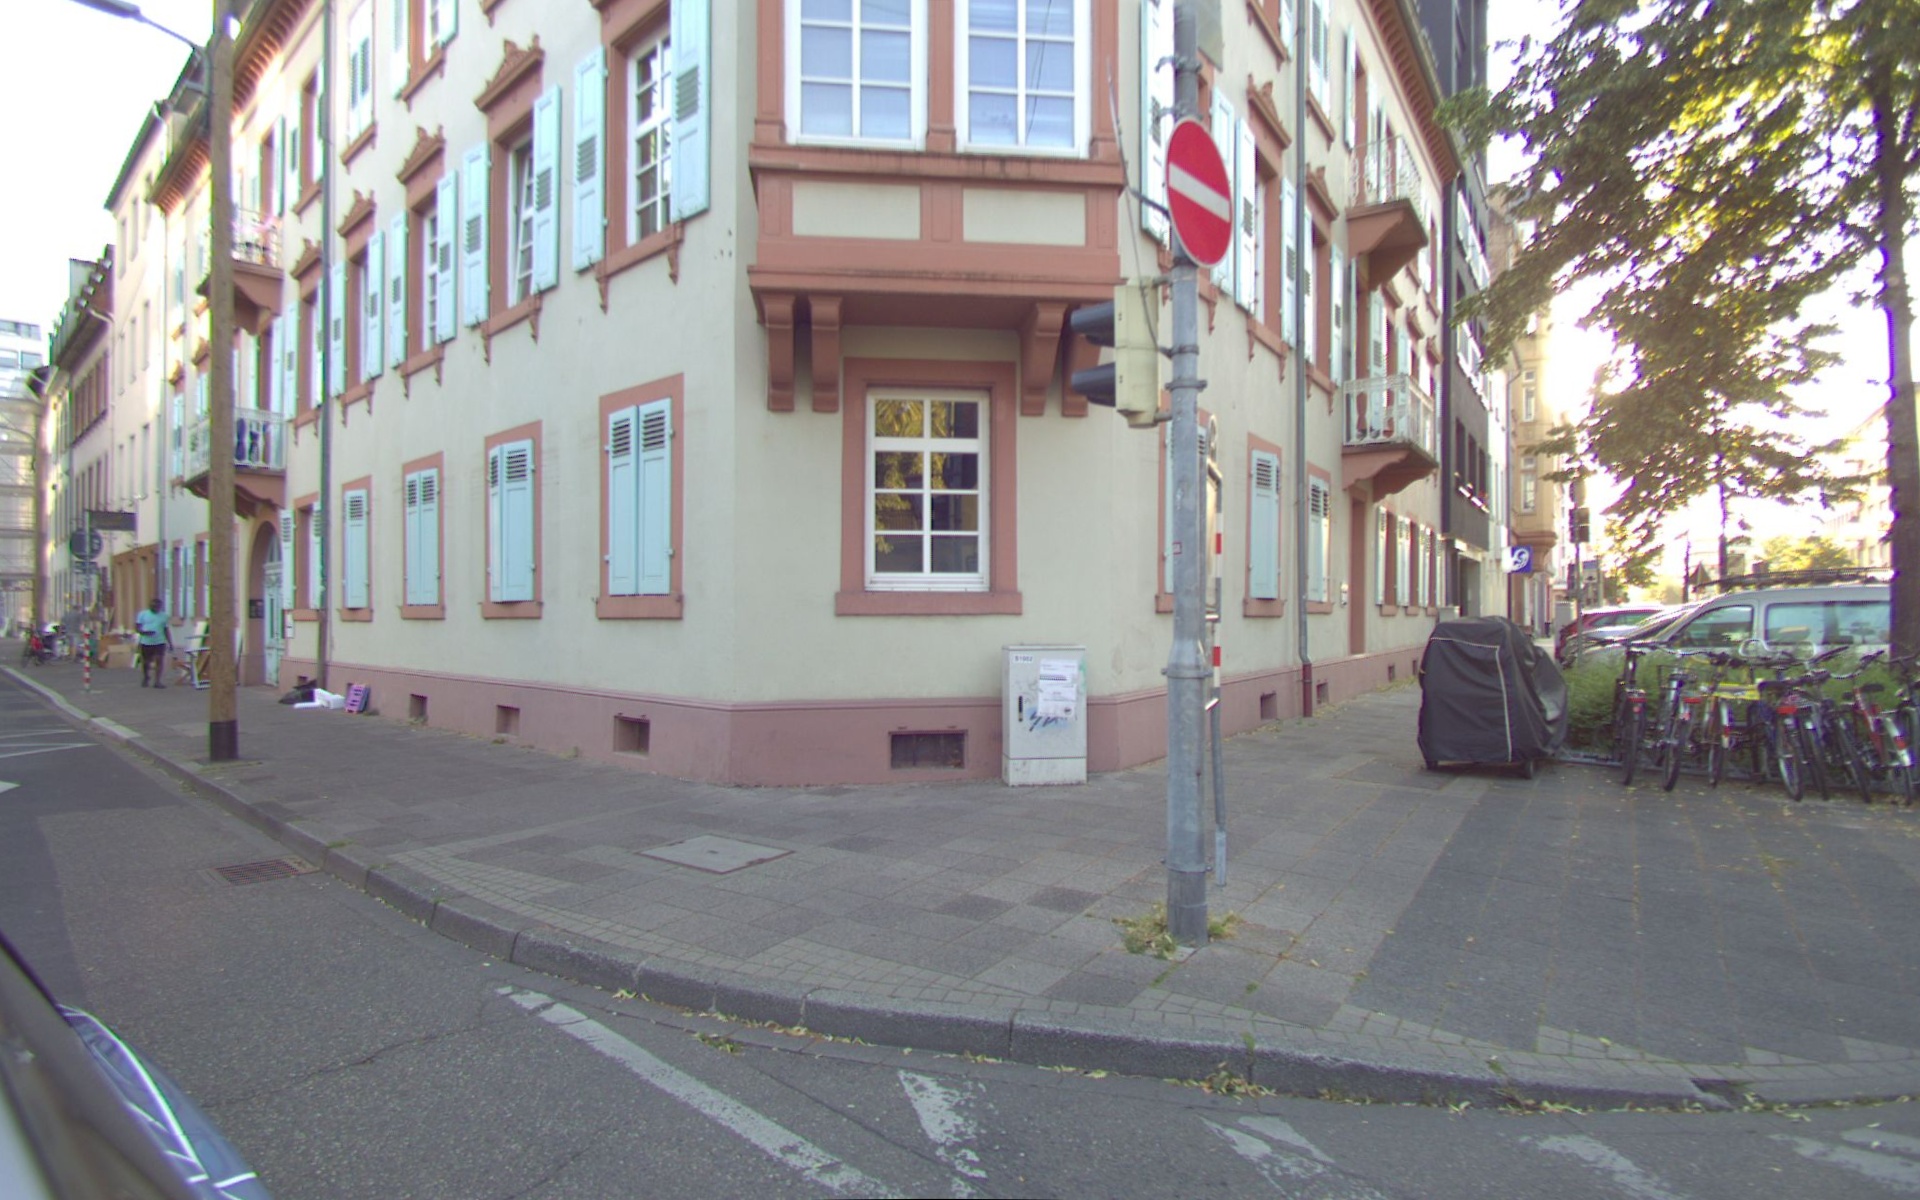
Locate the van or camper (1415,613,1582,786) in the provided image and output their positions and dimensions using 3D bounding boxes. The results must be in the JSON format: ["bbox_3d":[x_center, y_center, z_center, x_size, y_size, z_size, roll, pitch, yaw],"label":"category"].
[{"bbox_3d":[4.578,0.759,8.539,0.943,1.269,1.821,1,-1,38],"label":"van or camper"}]

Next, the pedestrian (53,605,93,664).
[{"bbox_3d":[-26.139,1.004,29.815,0.649,1.709,0.815,-1,-1,42],"label":"pedestrian"}]

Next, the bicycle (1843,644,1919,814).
[{"bbox_3d":[6.804,0.891,7.428,0.319,1.090,1.577,1,0,36],"label":"bicycle"}]

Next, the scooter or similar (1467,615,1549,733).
[{"bbox_3d":[6.184,0.794,11.398,0.676,1.231,1.379,-1,-1,34],"label":"scooter or similar"}]

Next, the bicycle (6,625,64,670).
[{"bbox_3d":[-25.646,1.309,28.098,0.649,1.179,1.613,-1,-1,-21],"label":"bicycle"}]

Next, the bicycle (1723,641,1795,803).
[{"bbox_3d":[6.111,0.879,7.778,0.341,1.090,1.577,-1,-2,36],"label":"bicycle"}]

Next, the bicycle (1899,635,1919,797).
[{"bbox_3d":[7.125,0.849,7.279,0.331,1.149,1.577,1,0,36],"label":"bicycle"}]

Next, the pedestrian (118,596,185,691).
[{"bbox_3d":[-15.206,0.808,19.040,0.649,1.709,0.815,-1,1,42],"label":"pedestrian"}]

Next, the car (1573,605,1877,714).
[{"bbox_3d":[11.951,0.865,16.013,3.658,1.526,1.627,-1,-1,39],"label":"car"}]

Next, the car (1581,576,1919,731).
[{"bbox_3d":[10.793,0.672,13.785,3.817,1.863,1.678,-1,-2,38],"label":"car"}]

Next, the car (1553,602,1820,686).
[{"bbox_3d":[14.400,0.849,20.403,4.206,1.528,1.744,-1,-1,31],"label":"car"}]

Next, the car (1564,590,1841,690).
[{"bbox_3d":[13.140,0.651,18.126,3.831,1.597,1.720,1,-1,37],"label":"car"}]

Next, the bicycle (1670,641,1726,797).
[{"bbox_3d":[5.811,0.881,7.986,0.322,1.090,1.577,-1,-2,36],"label":"bicycle"}]

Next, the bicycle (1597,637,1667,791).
[{"bbox_3d":[5.474,0.869,8.220,0.396,1.090,1.577,1,0,36],"label":"bicycle"}]

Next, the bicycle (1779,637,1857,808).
[{"bbox_3d":[6.448,0.861,7.640,0.312,1.157,1.592,0,-2,36],"label":"bicycle"}]
